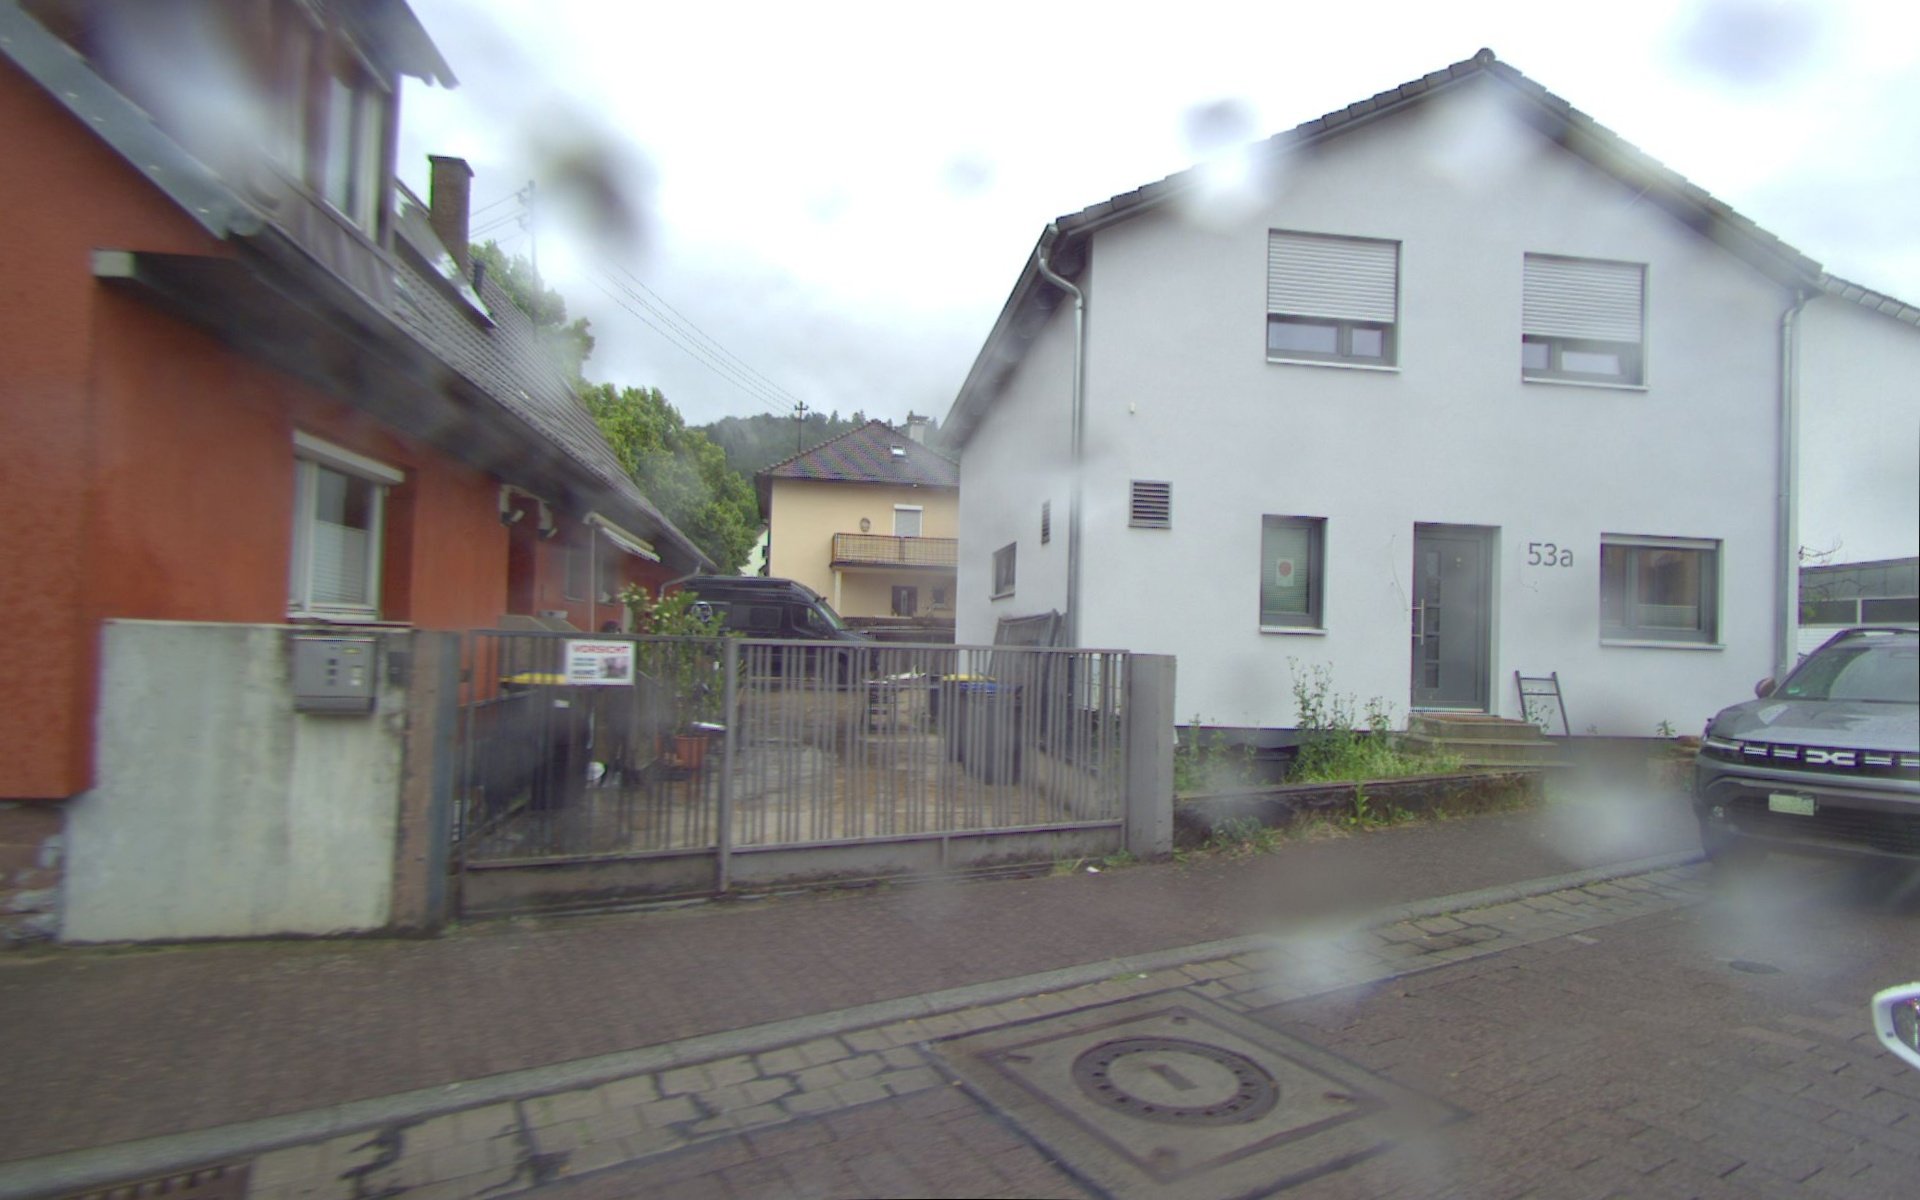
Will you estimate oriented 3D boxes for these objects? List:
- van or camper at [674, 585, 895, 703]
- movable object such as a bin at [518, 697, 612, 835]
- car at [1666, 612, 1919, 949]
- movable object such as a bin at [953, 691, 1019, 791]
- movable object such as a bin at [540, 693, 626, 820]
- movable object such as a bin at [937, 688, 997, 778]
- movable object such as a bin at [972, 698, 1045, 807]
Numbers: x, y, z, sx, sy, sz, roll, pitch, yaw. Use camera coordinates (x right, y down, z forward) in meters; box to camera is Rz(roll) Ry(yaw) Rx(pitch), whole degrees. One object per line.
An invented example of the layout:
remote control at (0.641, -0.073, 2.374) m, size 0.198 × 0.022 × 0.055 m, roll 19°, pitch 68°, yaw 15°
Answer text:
van or camper at (-4.732, 1.226, 27.758) m, size 5.604 × 3.002 × 2.207 m, roll 1°, pitch -3°, yaw 2°
movable object such as a bin at (-3.277, 1.358, 8.382) m, size 0.610 × 1.070 × 0.646 m, roll 1°, pitch -3°, yaw -12°
car at (6.634, 1.008, 6.724) m, size 3.975 × 1.802 × 1.801 m, roll 1°, pitch -2°, yaw -34°
movable object such as a bin at (0.291, 1.625, 11.674) m, size 0.663 × 1.069 × 0.613 m, roll 1°, pitch -1°, yaw -7°
movable object such as a bin at (-3.396, 1.389, 9.087) m, size 0.610 × 1.070 × 0.646 m, roll 1°, pitch -3°, yaw -12°
movable object such as a bin at (0.082, 1.689, 12.837) m, size 0.663 × 1.069 × 0.613 m, roll 1°, pitch -1°, yaw -7°
movable object such as a bin at (0.508, 1.607, 10.679) m, size 0.663 × 1.069 × 0.613 m, roll 1°, pitch -1°, yaw -7°
